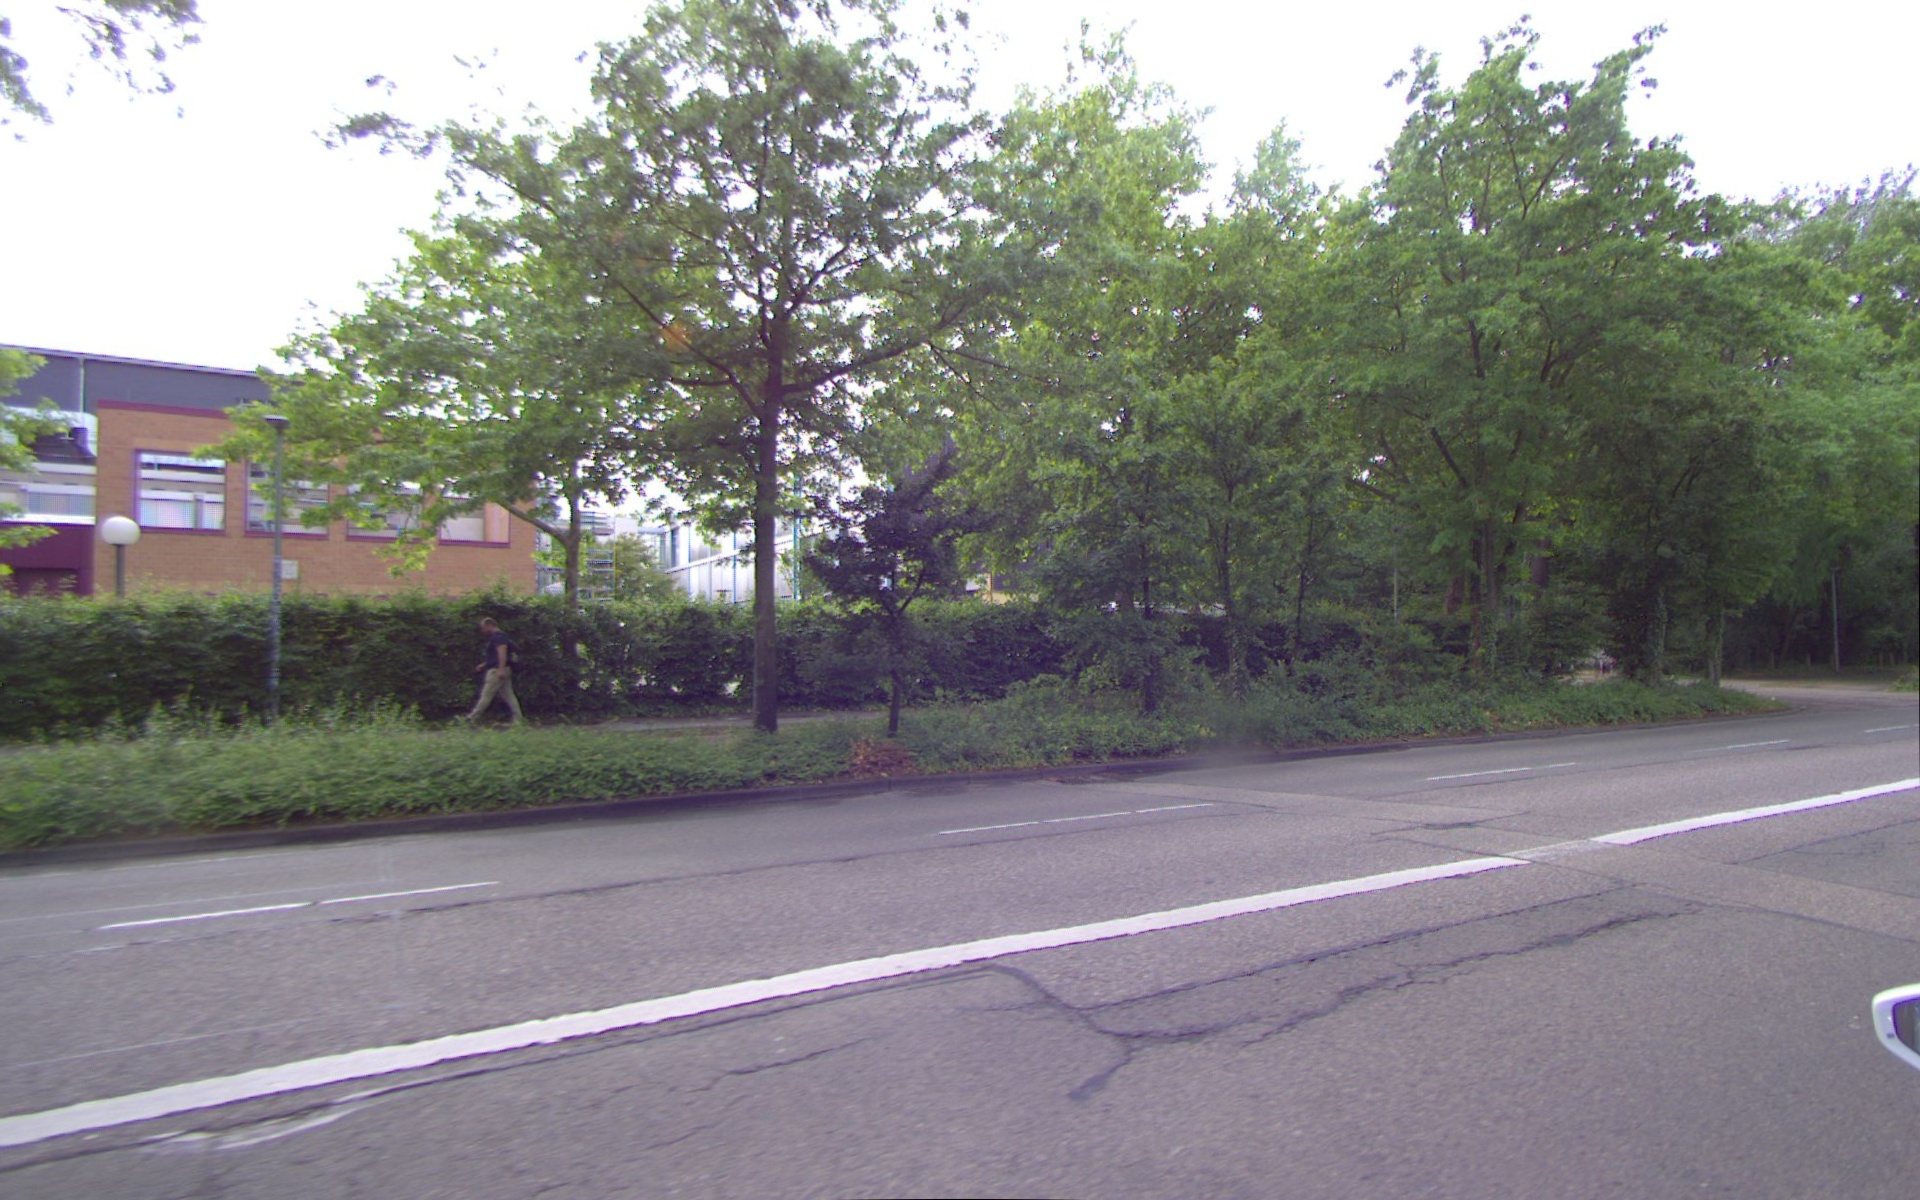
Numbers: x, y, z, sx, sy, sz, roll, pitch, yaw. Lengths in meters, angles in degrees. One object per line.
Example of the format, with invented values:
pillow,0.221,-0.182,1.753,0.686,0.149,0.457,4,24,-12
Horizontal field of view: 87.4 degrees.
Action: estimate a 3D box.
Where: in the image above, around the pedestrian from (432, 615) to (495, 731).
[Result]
pedestrian,-7.657,1.102,15.524,0.733,1.740,0.807,1,-1,-17
